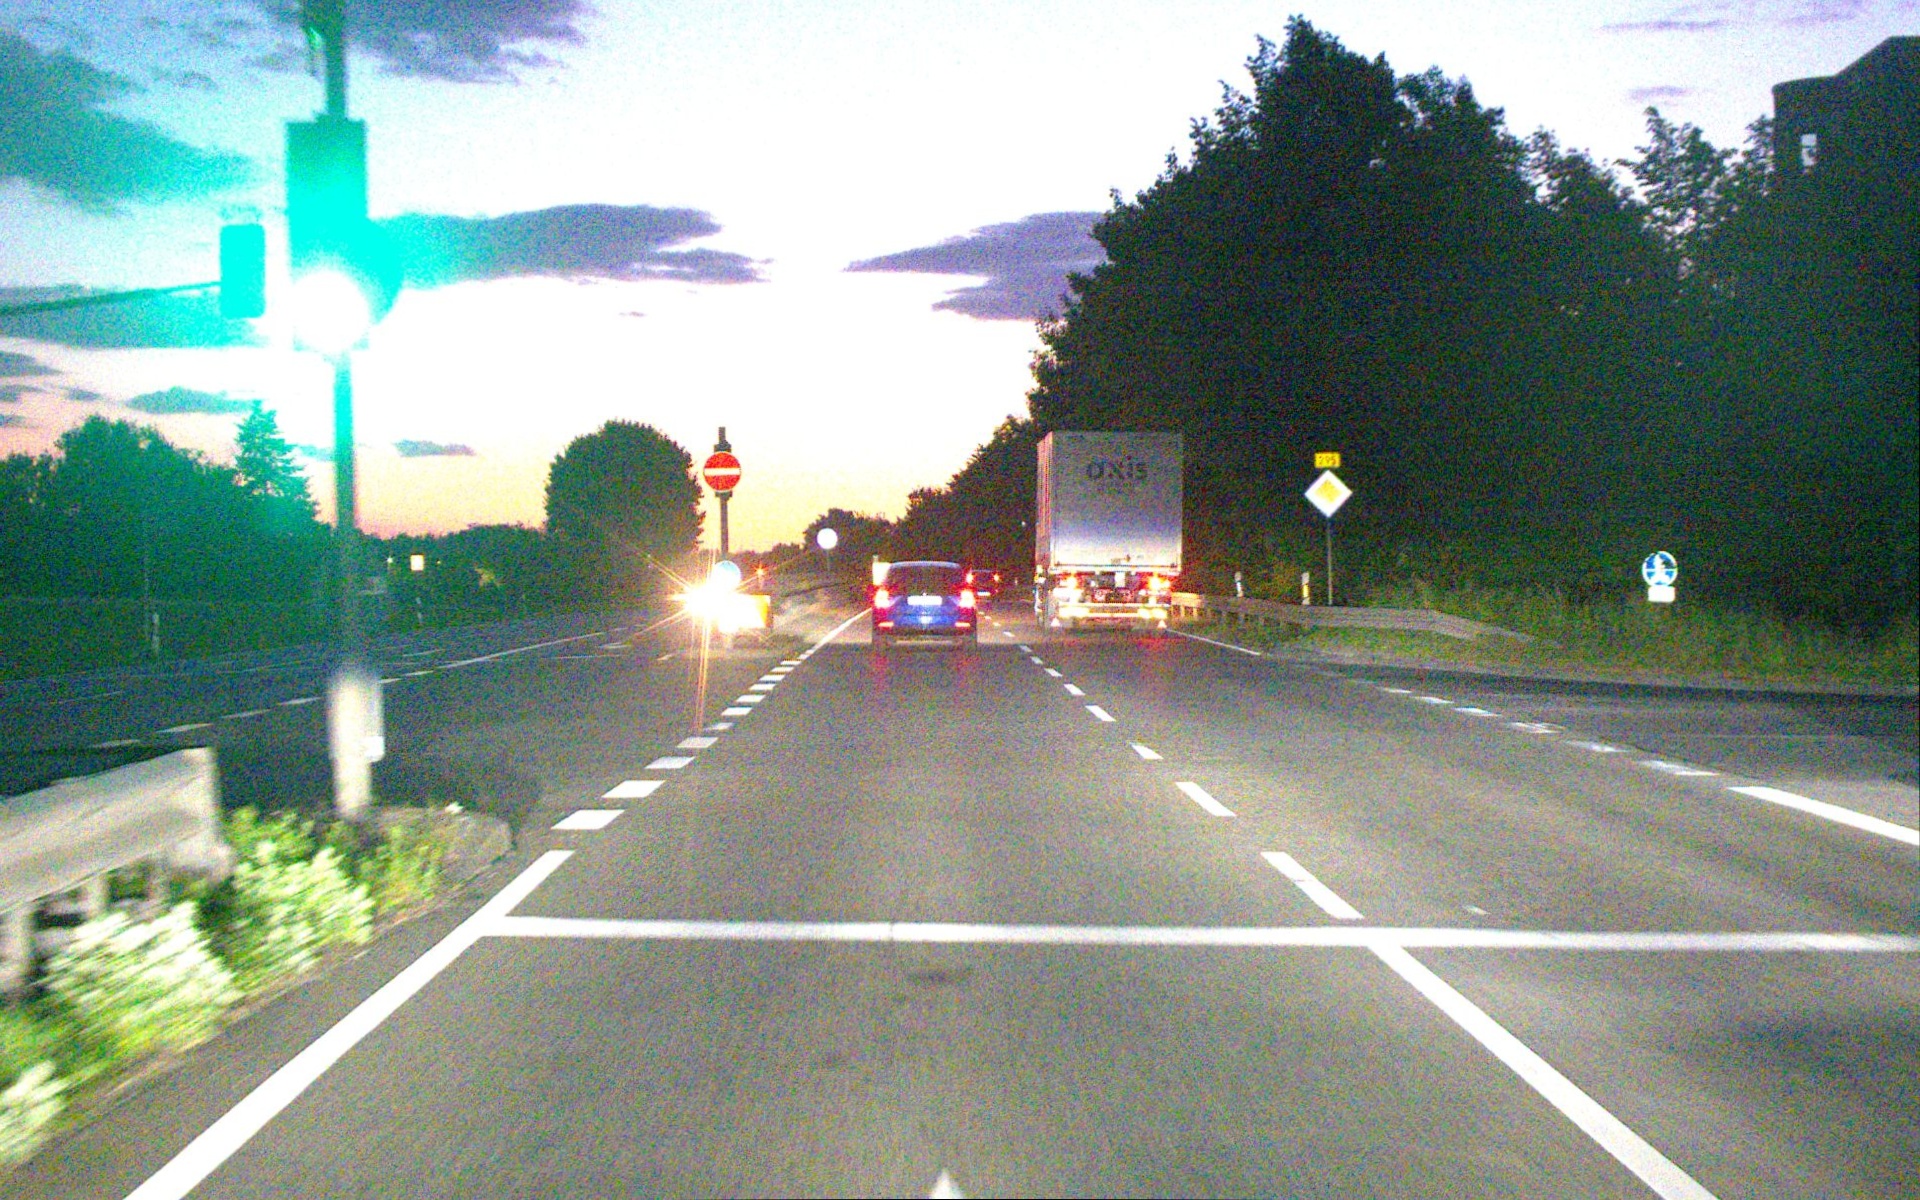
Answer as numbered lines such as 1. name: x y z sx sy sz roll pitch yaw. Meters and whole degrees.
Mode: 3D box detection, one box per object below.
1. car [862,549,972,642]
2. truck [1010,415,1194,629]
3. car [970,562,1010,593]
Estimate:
1. car: -0.737 -0.097 56.209 1.695 1.447 3.914 1 1 -2
2. truck: 2.835 -1.579 72.489 2.883 4.092 12.684 1 1 -2
3. car: 1.383 -1.058 160.116 1.695 1.447 3.914 1 1 -2
